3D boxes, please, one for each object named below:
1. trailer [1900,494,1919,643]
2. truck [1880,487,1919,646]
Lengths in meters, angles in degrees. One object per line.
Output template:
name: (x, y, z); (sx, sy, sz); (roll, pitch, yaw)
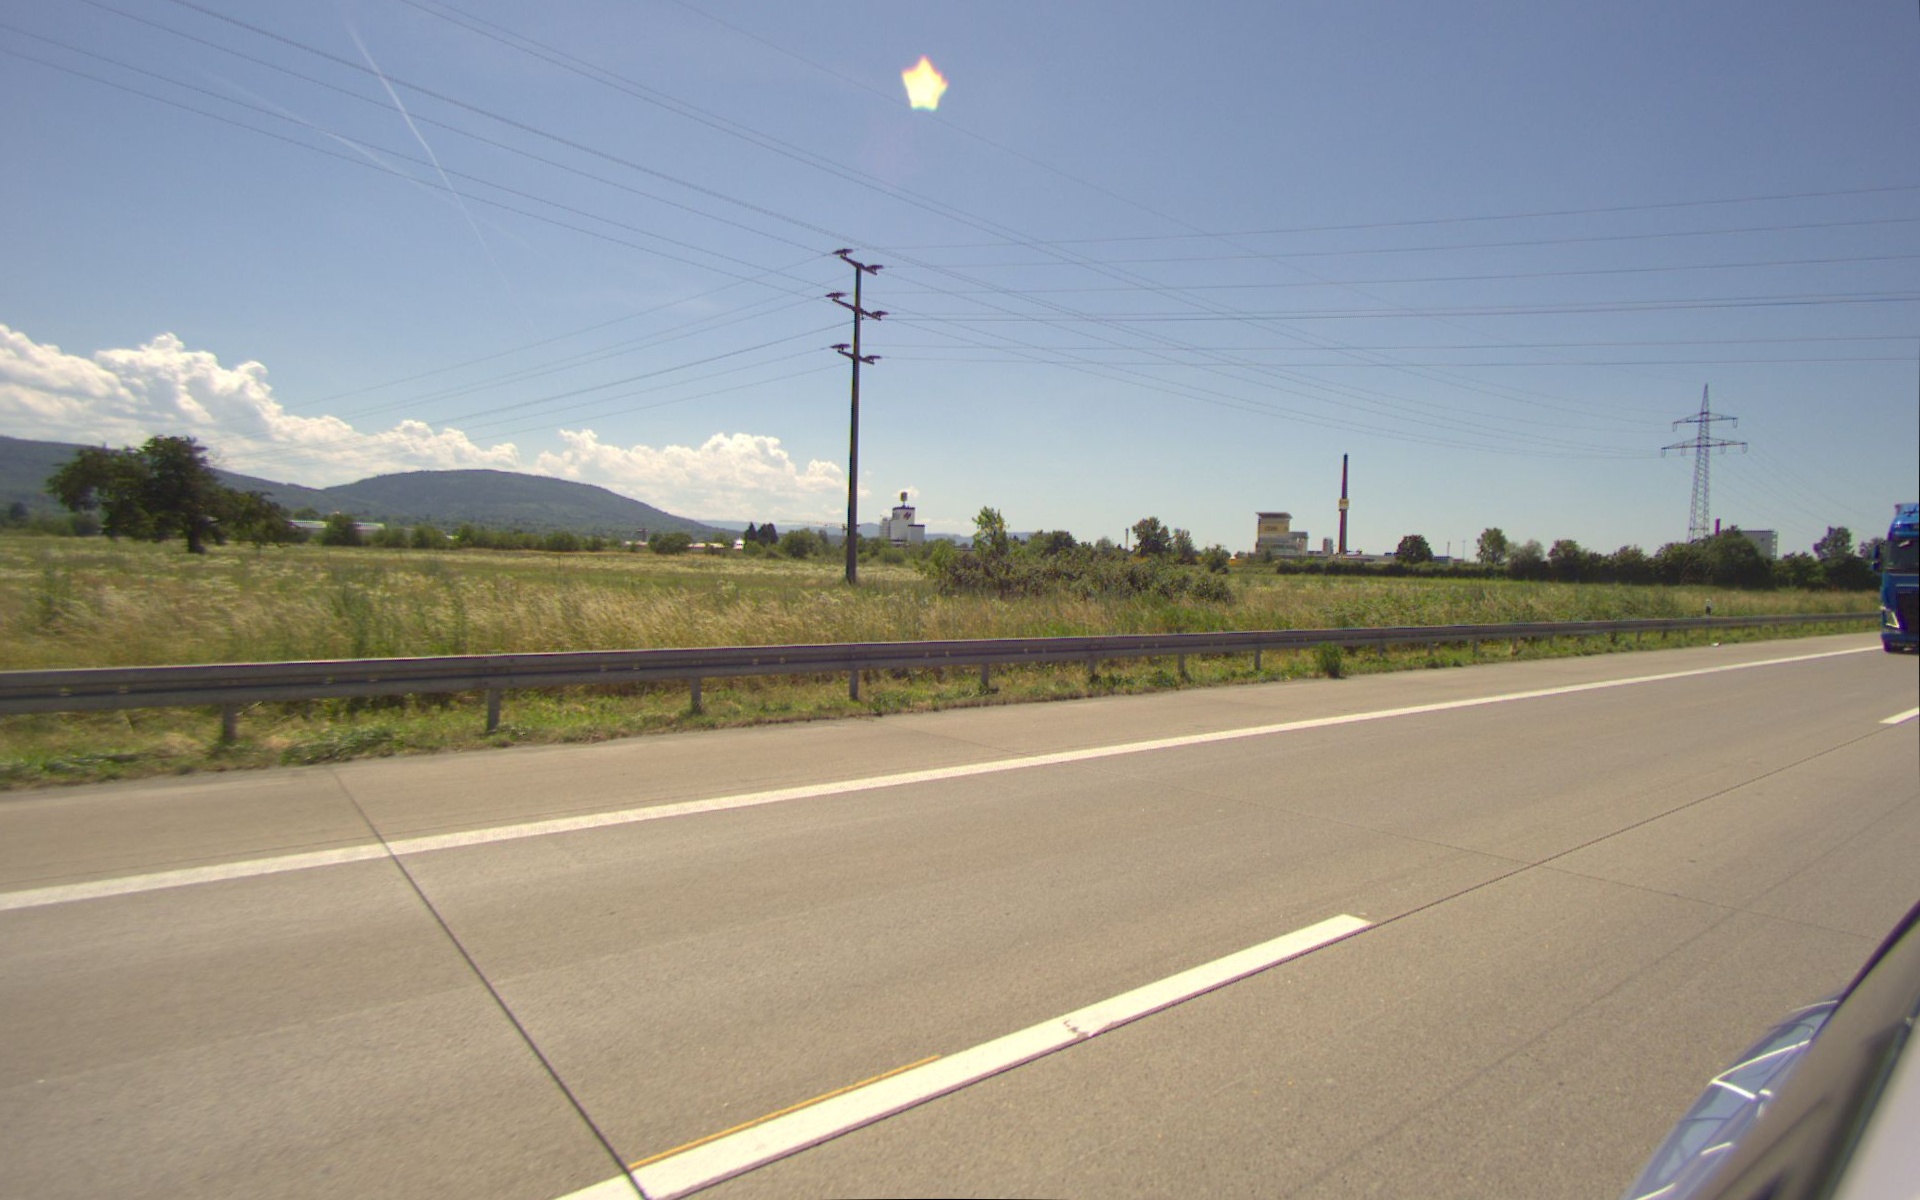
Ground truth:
trailer: (31.995, -0.891, 31.056); (12.666, 4.094, 2.716); (0, 1, -38)
truck: (27.256, -0.863, 27.307); (5.366, 4.094, 2.757); (0, 0, -38)
